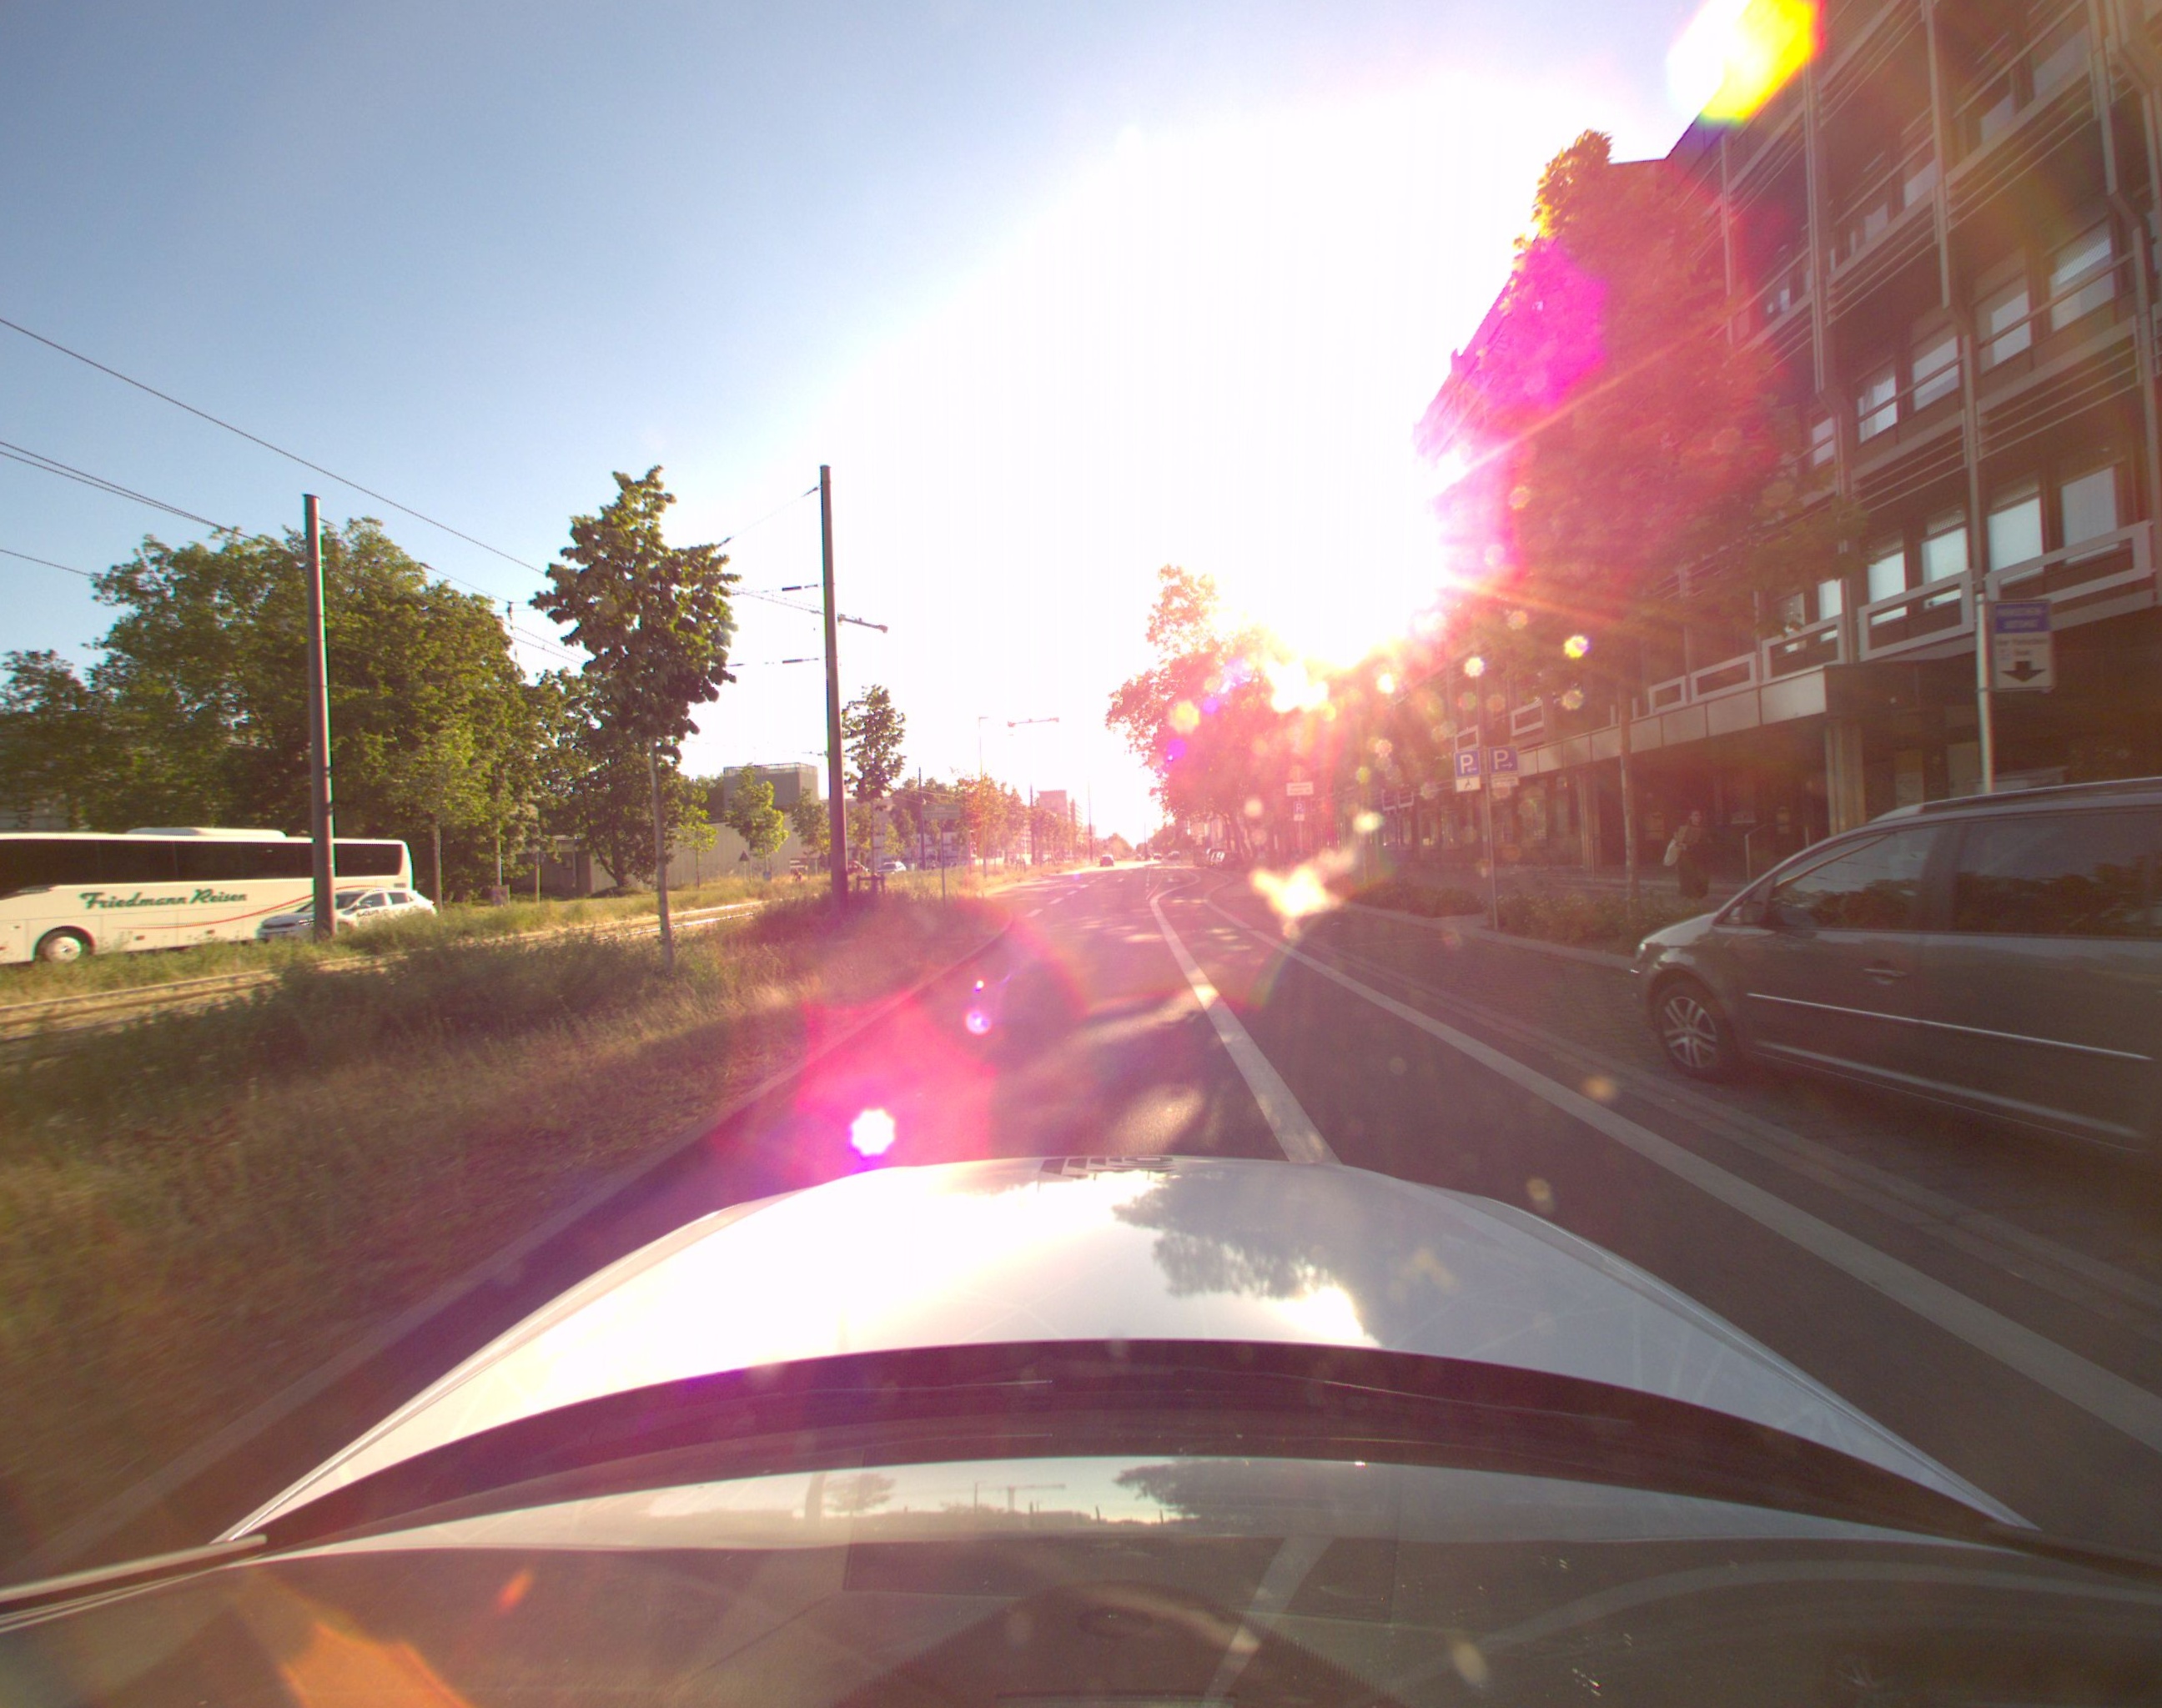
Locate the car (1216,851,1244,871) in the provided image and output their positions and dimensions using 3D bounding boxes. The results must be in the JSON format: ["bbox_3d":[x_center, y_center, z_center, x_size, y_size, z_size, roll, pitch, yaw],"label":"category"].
[{"bbox_3d":[11.780,0.520,64.547,1.698,1.418,4.282,-5,0,5],"label":"car"}]

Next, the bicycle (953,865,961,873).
[{"bbox_3d":[-16.908,2.041,111.053,0.581,1.105,1.990,-2,0,5],"label":"bicycle"}]

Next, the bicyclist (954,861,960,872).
[{"bbox_3d":[-16.906,1.677,111.219,0.581,1.442,1.077,-2,0,5],"label":"bicyclist"}]

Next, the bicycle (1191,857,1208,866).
[{"bbox_3d":[13.252,0.843,91.063,1.680,0.867,0.574,-4,-1,13],"label":"bicycle"}]

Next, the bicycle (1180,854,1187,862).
[{"bbox_3d":[15.541,0.585,123.440,0.794,1.204,2.272,-2,0,13],"label":"bicycle"}]

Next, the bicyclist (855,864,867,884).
[{"bbox_3d":[-20.050,1.825,74.144,0.684,1.708,0.955,-2,0,4],"label":"bicyclist"}]

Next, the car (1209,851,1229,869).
[{"bbox_3d":[12.948,0.500,76.760,1.672,1.514,5.071,-5,0,9],"label":"car"}]

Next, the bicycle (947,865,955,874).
[{"bbox_3d":[-17.667,2.081,110.516,0.581,1.105,1.990,-2,0,5],"label":"bicycle"}]

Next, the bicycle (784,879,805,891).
[{"bbox_3d":[-21.150,2.285,60.186,0.685,0.804,2.146,-2,0,3],"label":"bicycle"}]

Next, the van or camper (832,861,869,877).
[{"bbox_3d":[-39.620,2.559,140.288,5.631,2.414,2.158,-3,0,6],"label":"van or camper"}]

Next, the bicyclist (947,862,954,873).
[{"bbox_3d":[-17.685,1.863,110.464,0.581,1.442,1.077,-2,0,5],"label":"bicyclist"}]

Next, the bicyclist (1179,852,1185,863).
[{"bbox_3d":[15.377,0.525,123.569,0.797,1.602,0.786,-2,0,3],"label":"bicyclist"}]

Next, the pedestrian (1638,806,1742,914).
[{"bbox_3d":[9.952,0.094,13.360,0.786,1.648,1.137,-3,-1,3],"label":"pedestrian"}]

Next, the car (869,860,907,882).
[{"bbox_3d":[-17.118,1.459,72.426,1.862,1.765,4.818,-2,0,4],"label":"car"}]

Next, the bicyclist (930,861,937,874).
[{"bbox_3d":[-17.752,1.659,97.888,0.554,1.507,0.669,-2,0,5],"label":"bicyclist"}]

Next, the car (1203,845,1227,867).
[{"bbox_3d":[13.538,0.201,82.678,1.821,1.971,5.329,-5,0,5],"label":"car"}]

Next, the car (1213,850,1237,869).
[{"bbox_3d":[12.553,0.452,71.057,1.673,1.478,3.880,-5,0,5],"label":"car"}]

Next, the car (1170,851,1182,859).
[{"bbox_3d":[18.364,0.146,157.228,1.932,1.428,3.928,-2,0,3],"label":"car"}]

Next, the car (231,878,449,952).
[{"bbox_3d":[-19.972,1.580,22.259,1.986,1.643,4.170,-2,0,2],"label":"car"}]

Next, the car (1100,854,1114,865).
[{"bbox_3d":[3.419,0.717,105.774,1.769,1.428,4.003,-1,0,3],"label":"car"}]

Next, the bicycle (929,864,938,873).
[{"bbox_3d":[-17.762,1.769,97.840,0.556,1.060,1.901,-2,0,5],"label":"bicycle"}]

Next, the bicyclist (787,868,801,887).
[{"bbox_3d":[-21.182,1.758,60.126,0.685,1.346,0.871,-2,0,2],"label":"bicyclist"}]

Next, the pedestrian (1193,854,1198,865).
[{"bbox_3d":[16.790,0.807,119.750,0.631,1.608,0.570,-4,-1,5],"label":"pedestrian"}]

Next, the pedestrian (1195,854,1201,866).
[{"bbox_3d":[17.300,0.854,120.452,0.631,1.703,0.570,-4,-1,5],"label":"pedestrian"}]

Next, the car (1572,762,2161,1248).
[{"bbox_3d":[4.595,0.465,3.927,1.722,1.688,4.516,-4,0,1],"label":"car"}]

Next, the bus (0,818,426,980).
[{"bbox_3d":[-25.080,1.056,22.692,2.787,3.595,12.707,-2,0,3],"label":"bus"}]

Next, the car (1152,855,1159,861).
[{"bbox_3d":[19.497,1.102,212.588,1.752,1.485,3.853,-2,0,3],"label":"car"}]

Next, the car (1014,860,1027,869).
[{"bbox_3d":[-12.636,2.211,170.781,1.984,1.776,4.005,-2,0,4],"label":"car"}]

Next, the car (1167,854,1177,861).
[{"bbox_3d":[19.806,0.810,177.990,1.932,1.485,3.928,-2,0,3],"label":"car"}]

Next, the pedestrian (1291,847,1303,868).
[{"bbox_3d":[18.831,0.313,70.969,0.828,1.856,0.848,-2,0,4],"label":"pedestrian"}]
